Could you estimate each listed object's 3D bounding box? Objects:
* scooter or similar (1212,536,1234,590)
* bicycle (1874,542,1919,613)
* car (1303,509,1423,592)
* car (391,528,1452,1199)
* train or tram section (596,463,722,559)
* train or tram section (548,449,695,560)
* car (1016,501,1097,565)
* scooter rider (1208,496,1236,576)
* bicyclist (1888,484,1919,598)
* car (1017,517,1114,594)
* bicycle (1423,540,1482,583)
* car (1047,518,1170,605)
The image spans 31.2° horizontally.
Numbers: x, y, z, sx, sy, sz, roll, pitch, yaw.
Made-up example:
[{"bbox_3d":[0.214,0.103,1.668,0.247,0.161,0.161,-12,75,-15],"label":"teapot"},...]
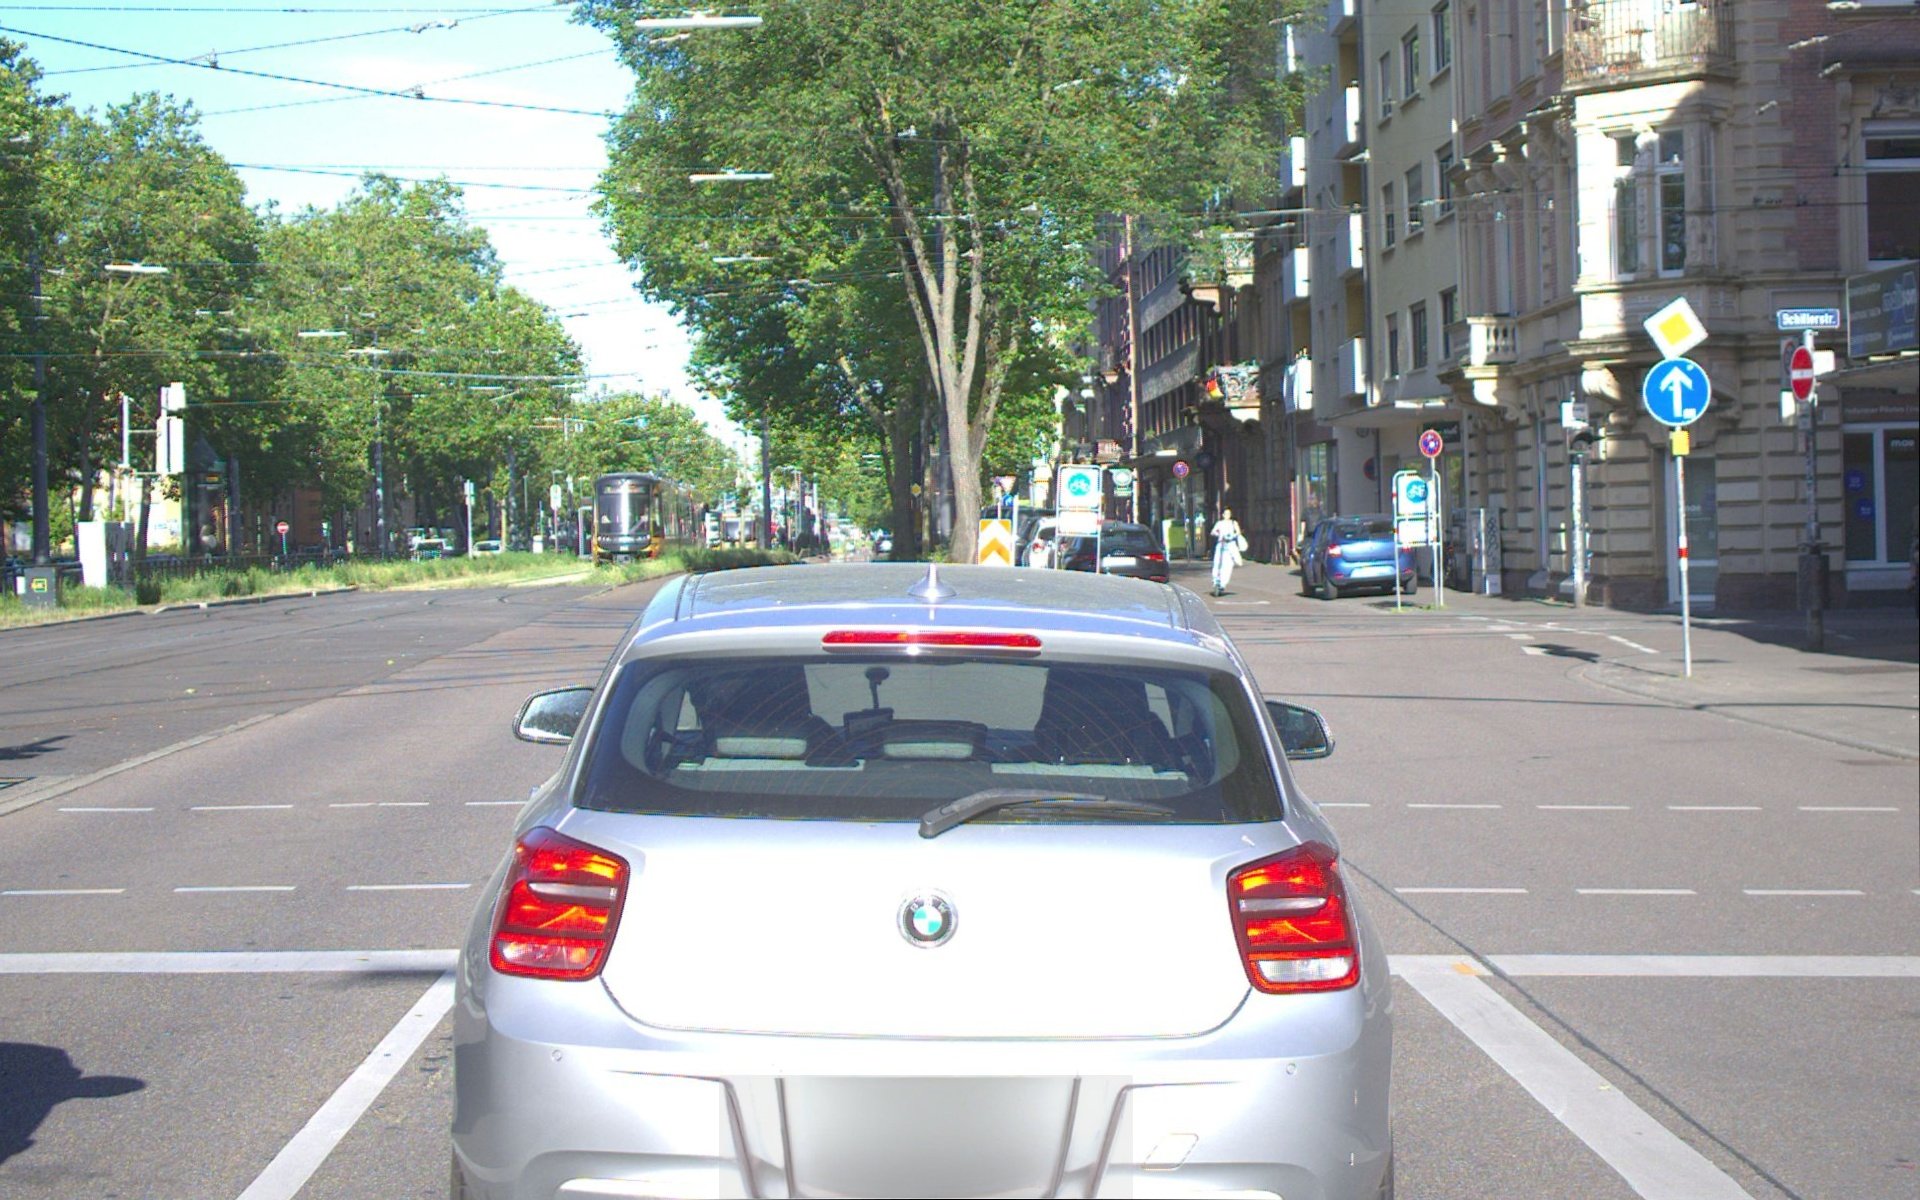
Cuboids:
[{"bbox_3d":[4.968,-0.705,64.879,0.337,0.984,1.284,-1,2,8],"label":"scooter or similar"},{"bbox_3d":[12.757,-0.307,45.670,0.654,0.900,1.335,1,2,41],"label":"bicycle"},{"bbox_3d":[7.483,-0.943,64.112,1.735,1.514,3.637,0,1,-1],"label":"car"},{"bbox_3d":[-0.092,0.590,7.679,1.740,1.462,4.000,1,1,-1],"label":"car"},{"bbox_3d":[-12.797,-3.831,148.039,4.005,3.852,17.490,-1,1,-1],"label":"train or tram section"},{"bbox_3d":[-12.660,-3.610,130.521,3.969,3.852,17.490,-1,1,-1],"label":"train or tram section"},{"bbox_3d":[2.288,-1.621,82.415,1.724,1.501,3.555,0,1,-2],"label":"car"},{"bbox_3d":[4.946,-1.206,64.885,0.465,1.500,0.811,-1,1,8],"label":"scooter rider"},{"bbox_3d":[12.820,-0.787,45.689,0.548,1.496,0.959,0,2,41],"label":"bicyclist"},{"bbox_3d":[2.093,-0.923,69.182,1.724,1.501,3.555,0,1,-2],"label":"car"},{"bbox_3d":[9.229,-0.724,64.518,0.754,0.768,1.946,-1,1,-2],"label":"bicycle"},{"bbox_3d":[2.489,-0.681,58.408,1.735,1.428,3.678,0,1,-3],"label":"car"}]
